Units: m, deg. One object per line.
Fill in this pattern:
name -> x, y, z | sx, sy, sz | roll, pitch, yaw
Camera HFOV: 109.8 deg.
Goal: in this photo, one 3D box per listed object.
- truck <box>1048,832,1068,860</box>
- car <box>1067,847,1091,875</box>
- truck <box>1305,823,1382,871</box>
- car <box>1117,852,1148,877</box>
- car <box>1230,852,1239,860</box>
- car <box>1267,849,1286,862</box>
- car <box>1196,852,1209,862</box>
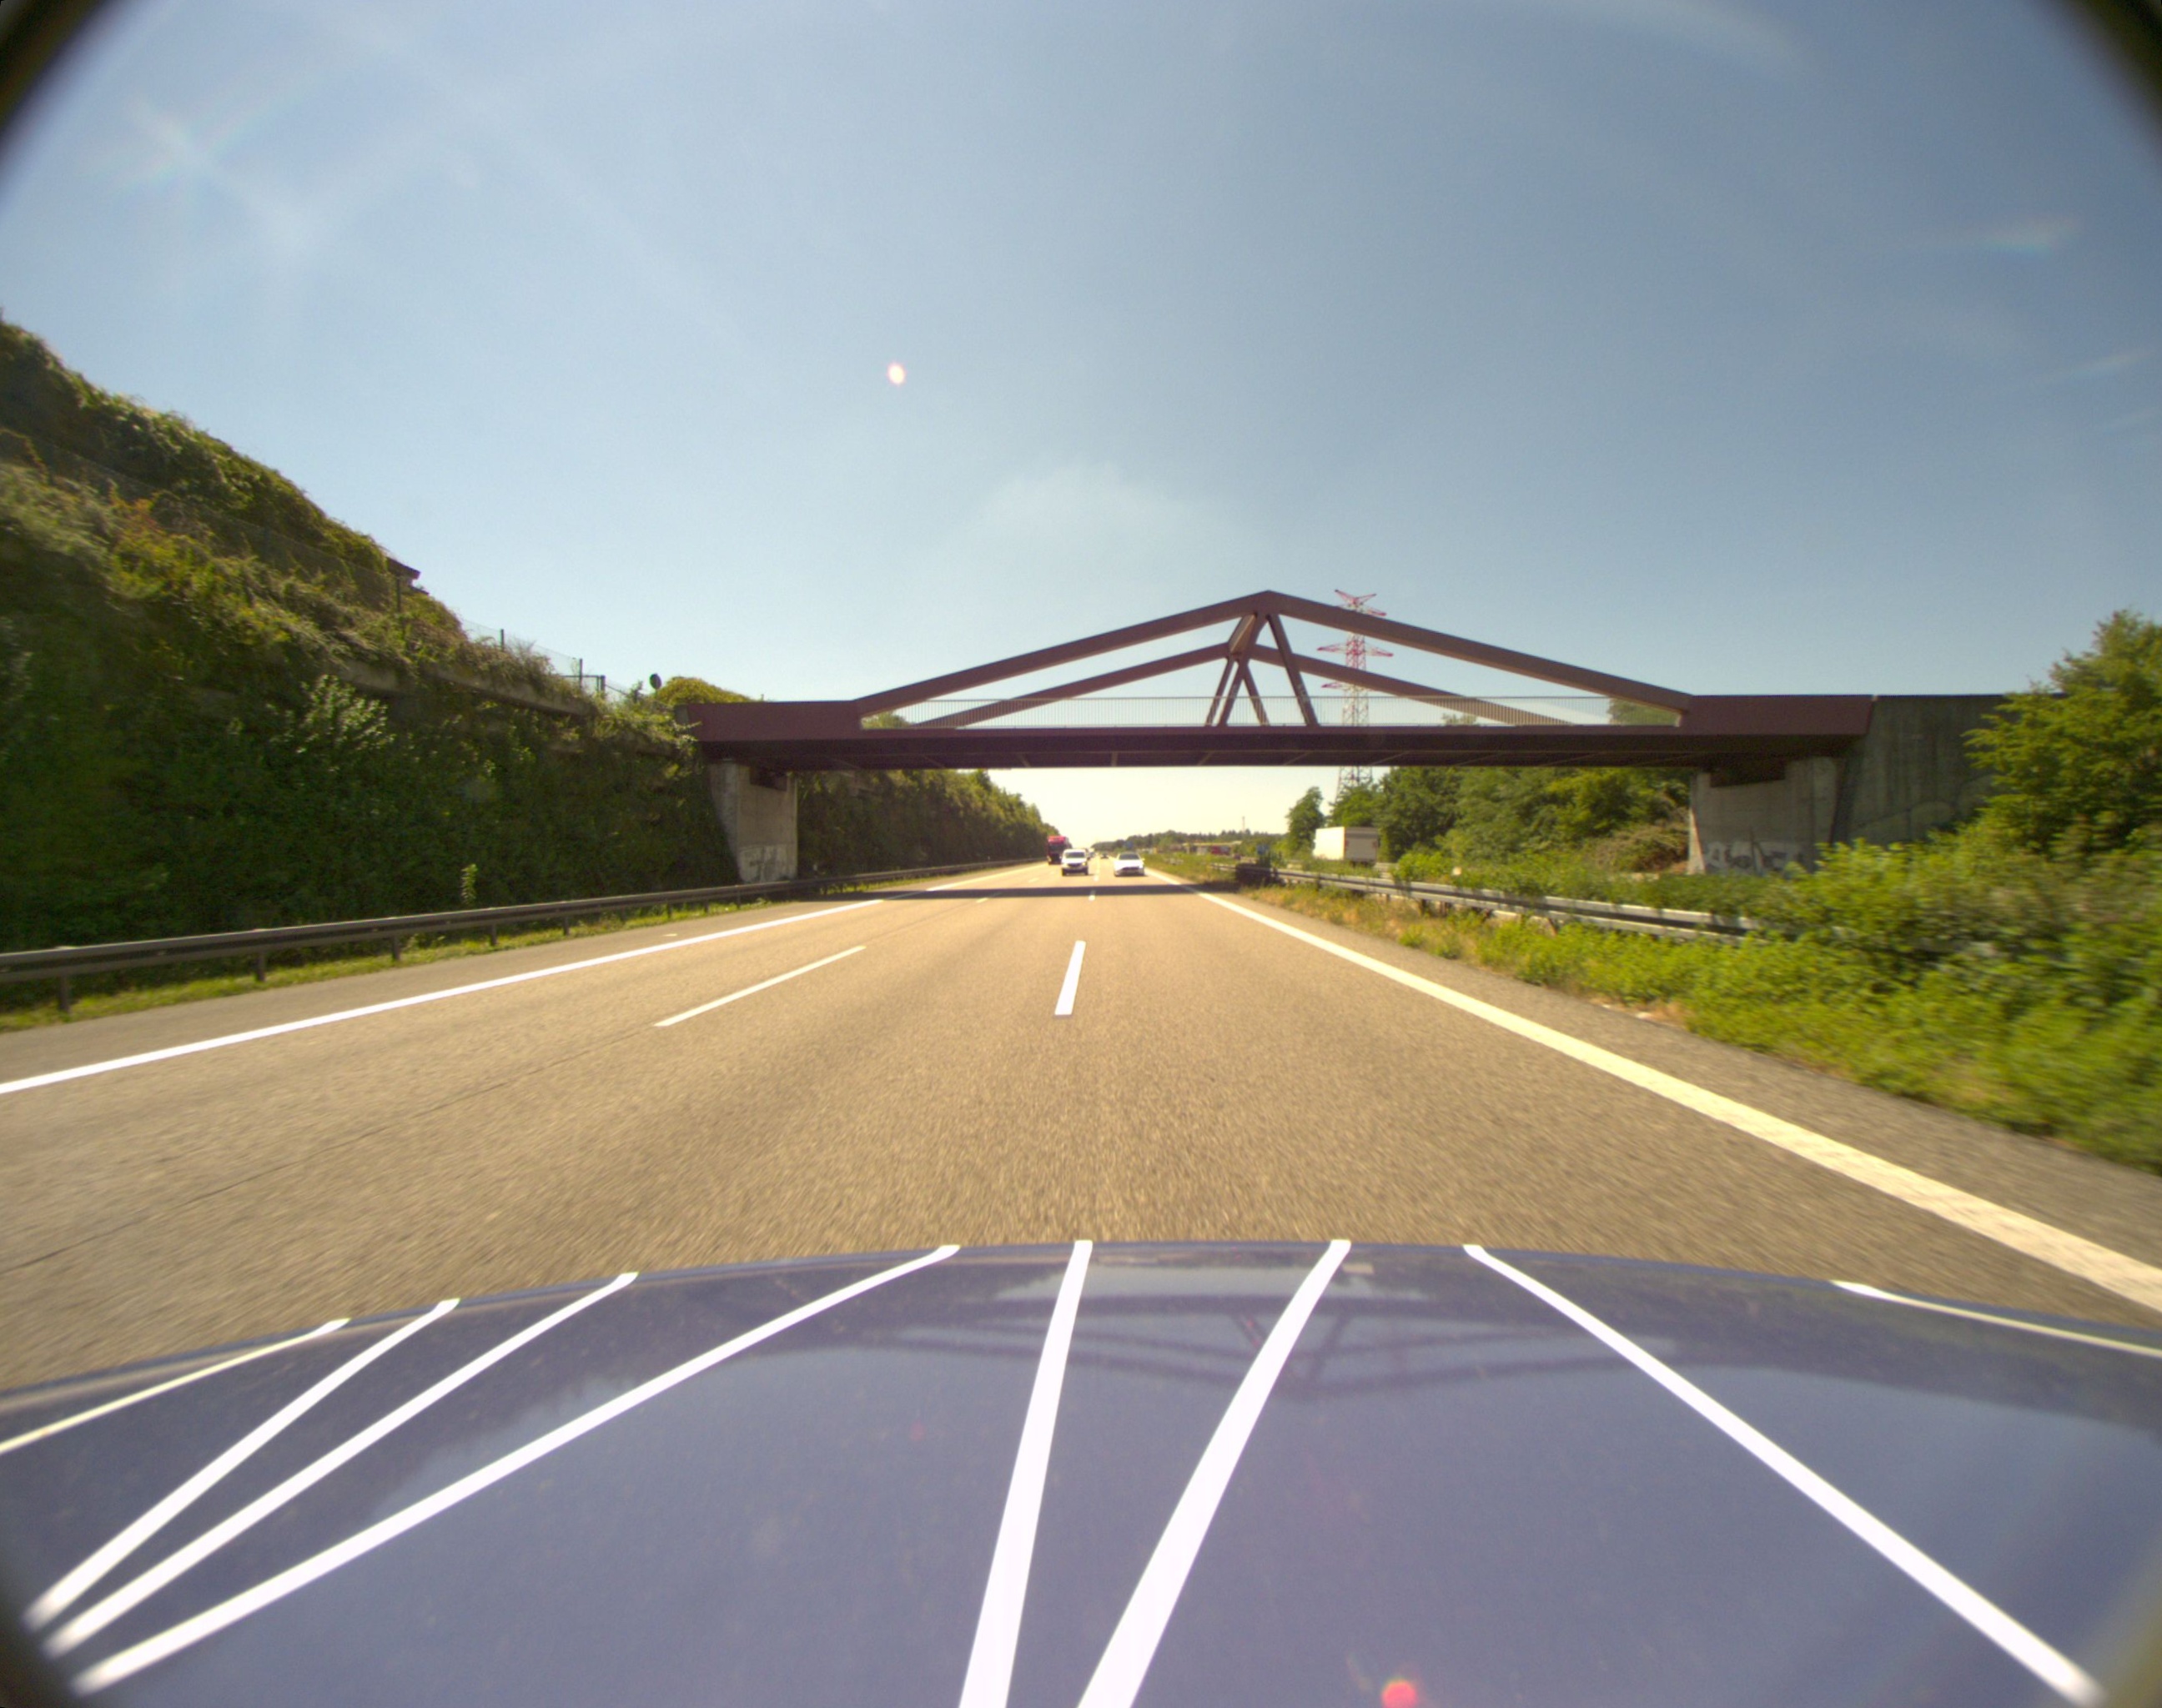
truck -> -3.260, -1.112, 107.993 | 2.505, 3.897, 7.096 | -2, 0, 1
car -> -0.114, 0.429, 52.414 | 1.501, 1.799, 3.394 | -3, 0, 0
truck -> 20.861, -0.521, 61.158 | 2.815, 3.516, 10.188 | 1, 0, 1
car -> 3.192, 0.607, 47.609 | 1.775, 1.410, 3.401 | -3, 0, 1
car -> 33.405, 0.382, 165.181 | 1.377, 1.604, 3.364 | -3, 0, 1
car -> 28.575, 0.179, 111.041 | 1.704, 1.758, 4.403 | -3, 0, 3
car -> 23.770, 0.588, 148.846 | 1.808, 1.826, 4.257 | -3, 0, 1
